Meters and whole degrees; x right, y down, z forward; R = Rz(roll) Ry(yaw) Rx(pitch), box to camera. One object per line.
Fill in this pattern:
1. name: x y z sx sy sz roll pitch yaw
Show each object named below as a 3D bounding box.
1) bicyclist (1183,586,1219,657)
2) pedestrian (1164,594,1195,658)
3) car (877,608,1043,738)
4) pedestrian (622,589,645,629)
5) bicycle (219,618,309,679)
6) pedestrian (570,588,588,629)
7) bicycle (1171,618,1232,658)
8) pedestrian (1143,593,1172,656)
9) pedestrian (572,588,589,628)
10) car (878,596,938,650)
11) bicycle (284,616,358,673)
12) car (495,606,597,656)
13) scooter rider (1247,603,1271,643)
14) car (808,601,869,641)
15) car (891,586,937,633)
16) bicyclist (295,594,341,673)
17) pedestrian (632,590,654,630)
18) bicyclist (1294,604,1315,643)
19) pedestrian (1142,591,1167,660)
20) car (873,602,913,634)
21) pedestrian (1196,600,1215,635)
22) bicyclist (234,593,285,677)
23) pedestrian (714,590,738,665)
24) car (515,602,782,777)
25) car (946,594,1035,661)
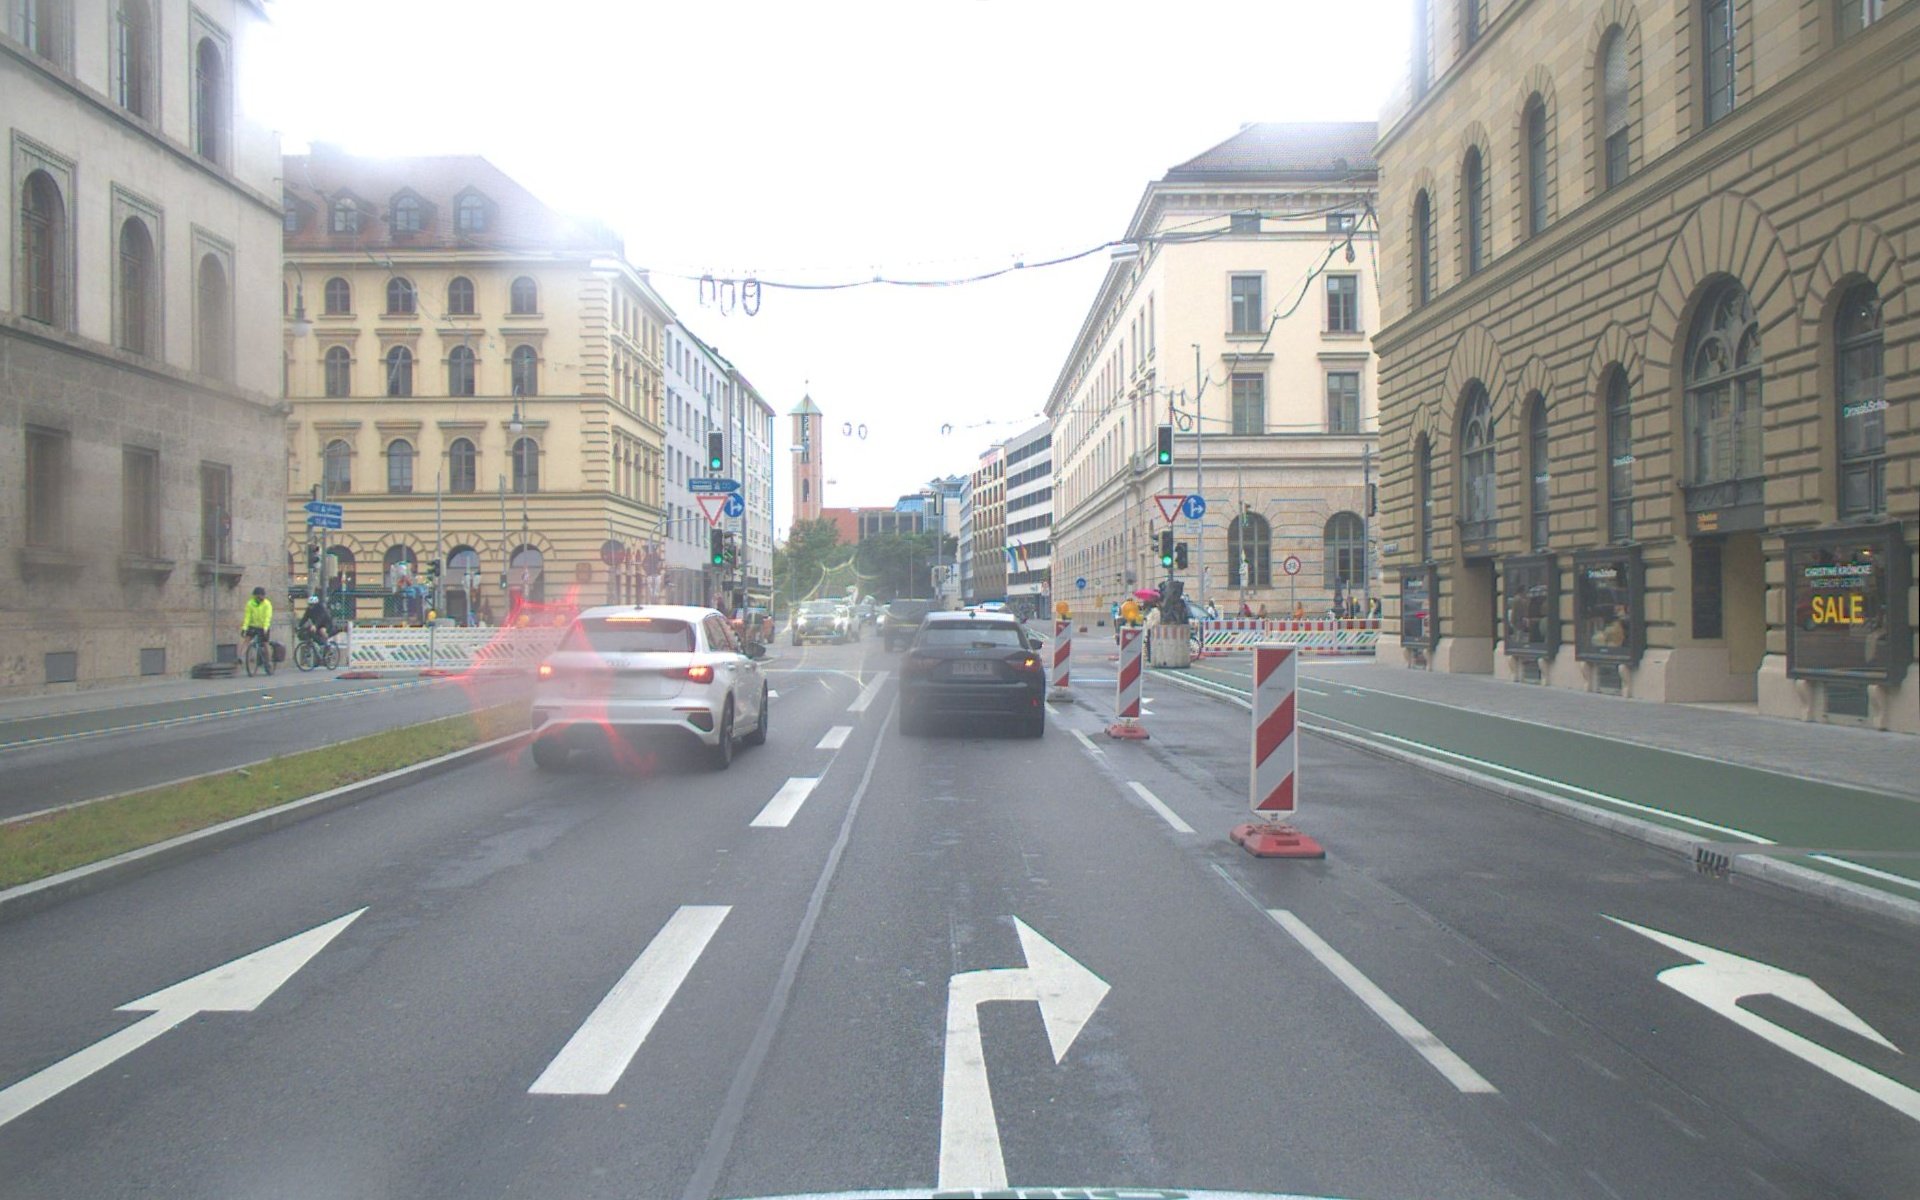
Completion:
1. bicyclist: 6.396 0.565 43.902 0.562 1.886 0.787 1 0 -40
2. pedestrian: 5.519 0.644 41.538 0.688 1.594 0.682 1 0 1
3. car: -0.026 0.815 20.267 1.825 1.412 3.999 0 0 -1
4. pedestrian: -14.808 0.424 75.089 0.718 1.803 0.761 0 0 20
5. bicycle: -15.104 1.029 35.978 0.770 1.264 2.450 0 0 4
6. pedestrian: -17.054 0.377 74.065 0.720 1.803 0.737 1 0 -11
7. bicycle: 6.391 0.992 43.898 0.581 1.029 1.632 1 0 -40
8. pedestrian: 5.068 0.632 42.395 0.688 1.594 0.541 1 0 1
9. pedestrian: -17.165 0.361 74.805 0.720 1.803 0.737 1 0 -11
10. car: -1.625 0.695 52.582 1.827 1.629 3.850 -1 0 -1
11. bicycle: -14.952 1.031 38.764 0.770 1.264 2.200 0 0 4
12. car: -16.198 1.193 64.688 3.687 1.830 1.856 -1 0 -22
13. scooter rider: 12.546 0.948 69.362 0.913 1.651 0.592 0 0 1
14. car: -5.378 0.895 73.675 1.755 1.707 4.236 -1 0 9
15. car: -2.044 0.417 73.697 1.953 2.049 3.999 -1 0 -1
16. bicyclist: -14.953 0.767 38.533 0.781 1.807 0.689 0 0 3
17. pedestrian: -14.522 0.441 75.813 0.718 1.803 0.739 0 0 20
18. bicyclist: 14.673 0.997 70.464 0.728 1.643 0.795 0 0 2
19. pedestrian: 4.751 0.614 40.380 0.520 1.648 0.674 1 0 2
20. car: -3.444 0.910 85.905 1.953 1.550 4.232 -1 0 -1
21. pedestrian: 11.027 0.781 74.257 0.800 1.584 0.667 0 0 7
22. bicyclist: -15.115 0.751 35.694 0.781 1.779 0.689 0 0 3
23. pedestrian: -5.613 0.650 39.645 0.503 1.773 1.041 0 0 -10
24. car: -2.861 0.754 16.163 1.776 1.449 4.451 1 0 0
25. car: 0.844 0.684 42.995 1.731 1.645 4.003 0 0 9
